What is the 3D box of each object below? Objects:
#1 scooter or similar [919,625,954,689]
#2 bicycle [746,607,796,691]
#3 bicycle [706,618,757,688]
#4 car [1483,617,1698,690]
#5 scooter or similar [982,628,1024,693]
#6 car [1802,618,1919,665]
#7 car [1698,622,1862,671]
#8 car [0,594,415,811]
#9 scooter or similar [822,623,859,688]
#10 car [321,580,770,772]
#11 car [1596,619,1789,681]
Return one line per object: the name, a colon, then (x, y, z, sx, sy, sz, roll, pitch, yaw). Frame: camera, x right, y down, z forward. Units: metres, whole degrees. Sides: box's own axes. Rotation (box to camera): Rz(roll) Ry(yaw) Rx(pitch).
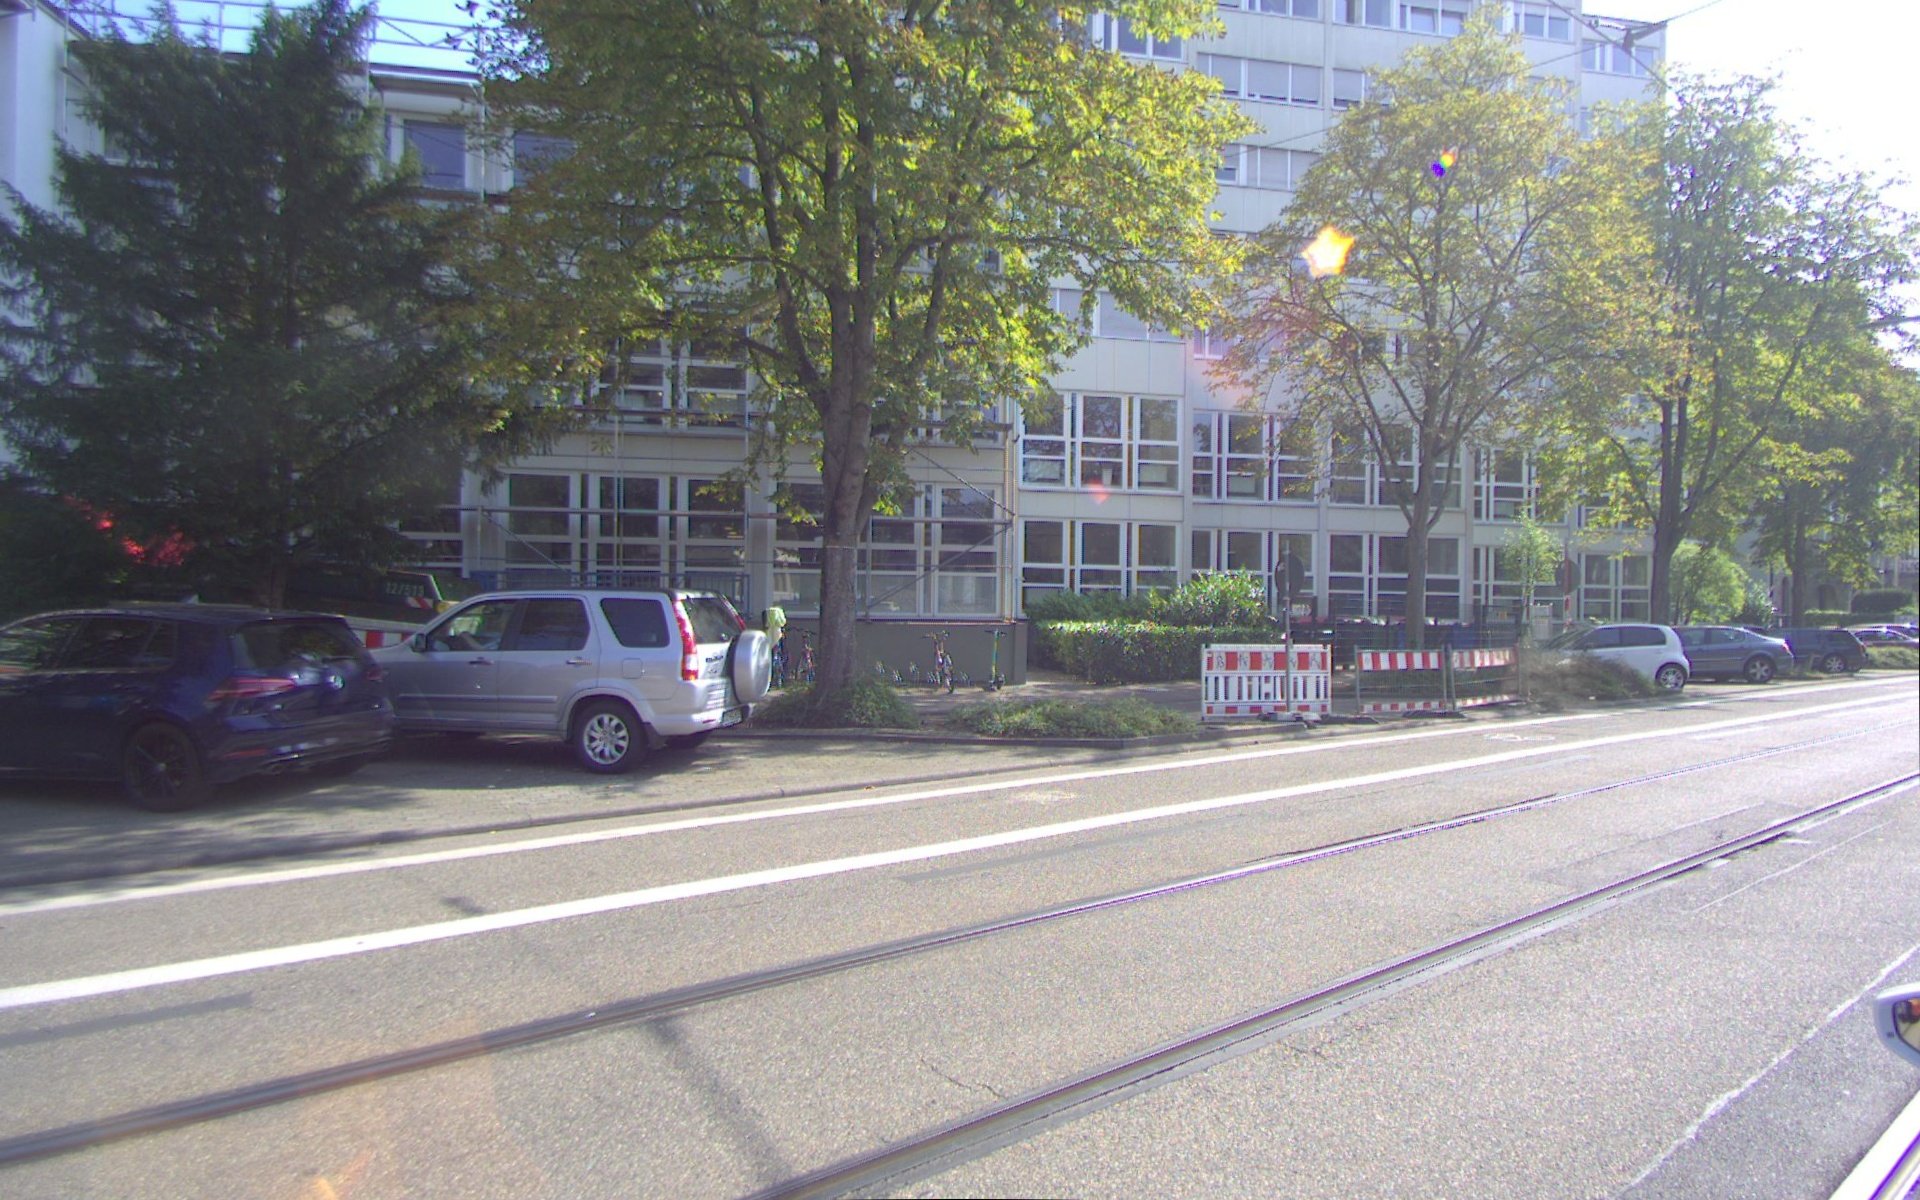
scooter or similar: (-0.482, 1.077, 19.522, 0.575, 1.149, 2.034, 1, 0, -4)
bicycle: (-3.388, 0.835, 18.166, 0.575, 1.399, 2.431, 1, 0, -4)
bicycle: (-4.108, 0.925, 18.190, 0.575, 1.149, 2.034, 1, 0, -4)
car: (13.749, 1.145, 22.048, 3.687, 1.462, 1.571, 1, 0, 4)
scooter or similar: (0.823, 1.145, 19.600, 0.575, 1.149, 2.034, 1, 0, -4)
car: (34.256, 1.538, 37.564, 3.926, 1.662, 1.689, 1, 0, 28)
car: (25.661, 1.431, 31.537, 3.687, 1.425, 1.571, 1, 0, 8)
car: (-6.629, 0.701, 8.083, 3.719, 1.461, 1.695, 1, 0, 12)
scooter or similar: (-2.260, 1.026, 19.156, 0.575, 1.149, 2.034, 1, 0, -4)
car: (-3.972, 0.662, 9.922, 3.718, 1.643, 1.745, 1, 0, 10)
car: (18.699, 1.243, 25.779, 3.687, 1.462, 1.571, 1, 0, 8)
